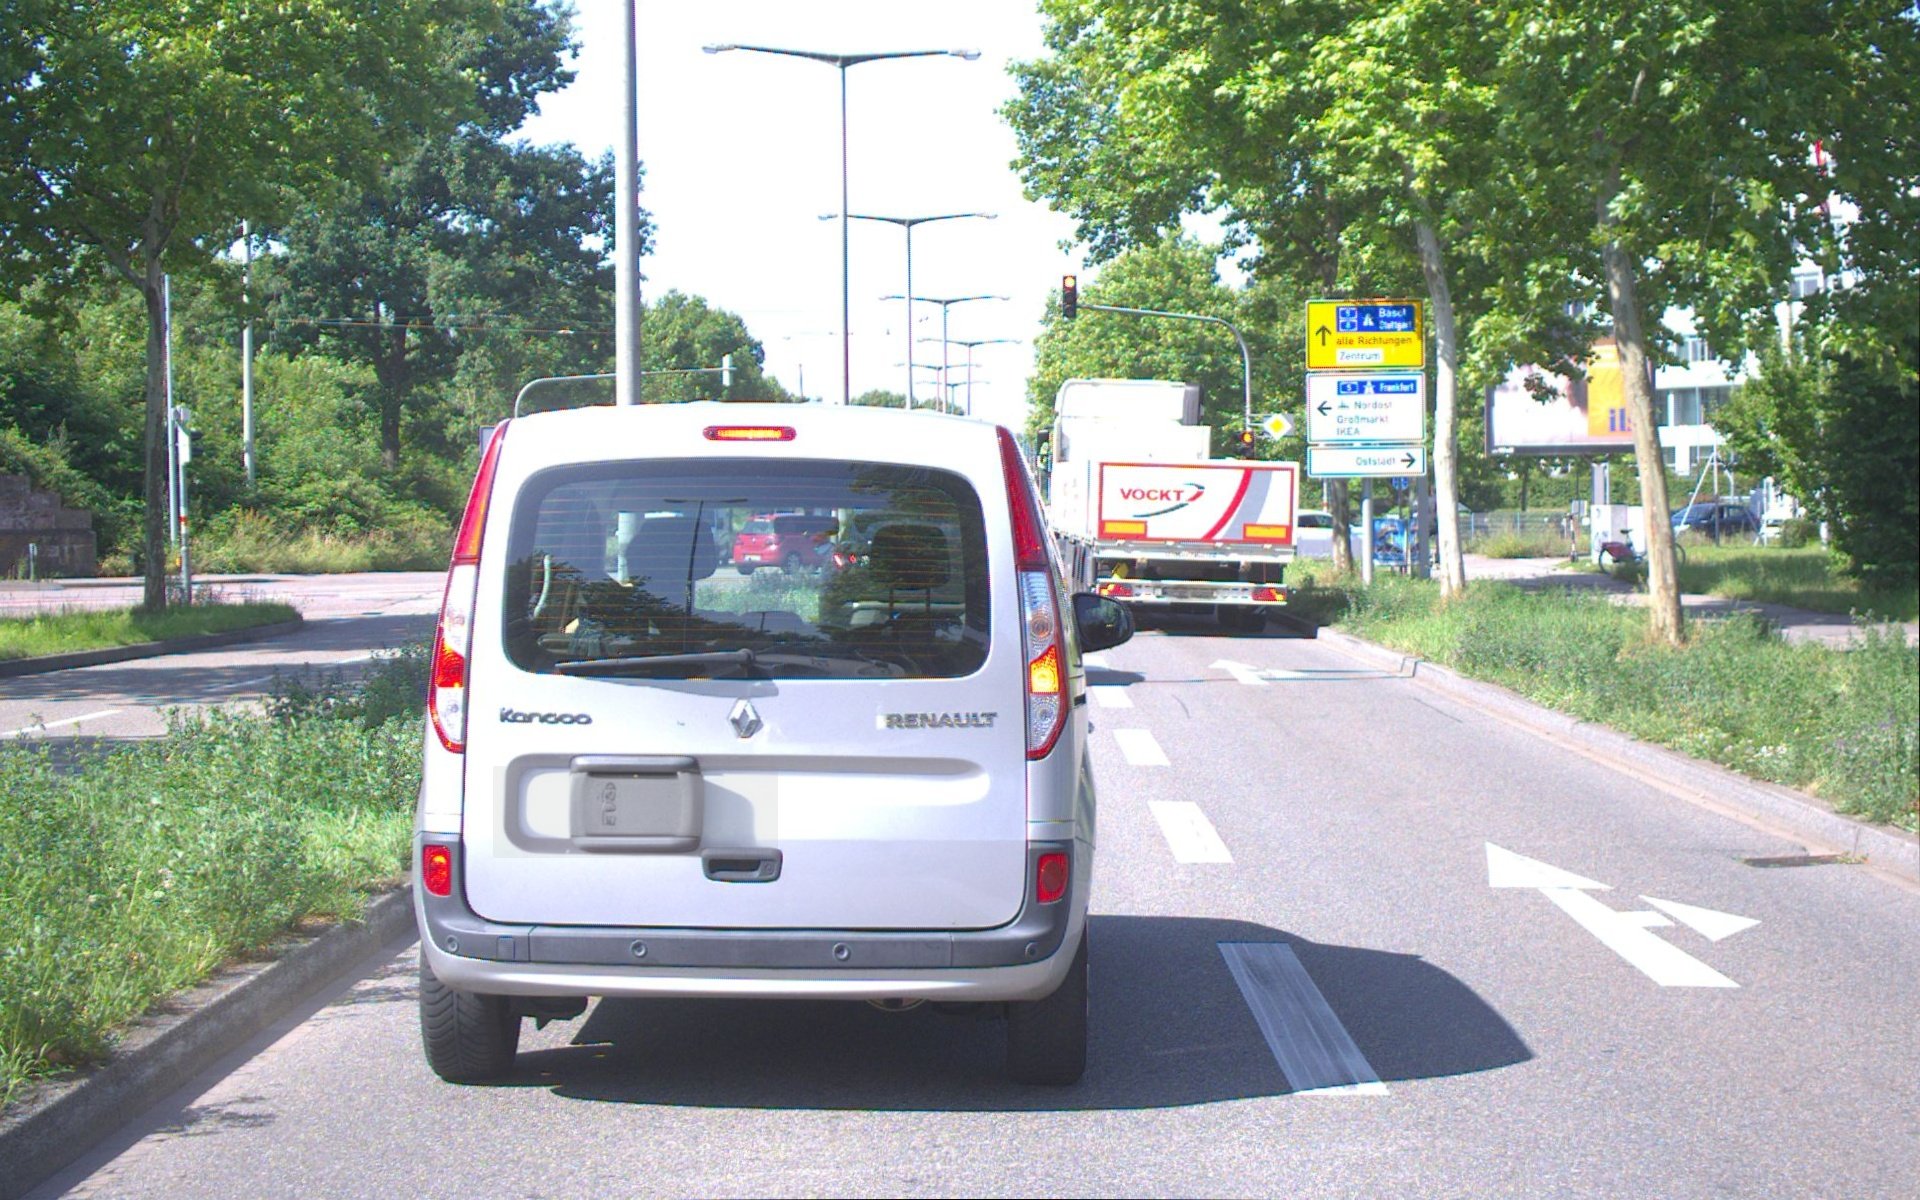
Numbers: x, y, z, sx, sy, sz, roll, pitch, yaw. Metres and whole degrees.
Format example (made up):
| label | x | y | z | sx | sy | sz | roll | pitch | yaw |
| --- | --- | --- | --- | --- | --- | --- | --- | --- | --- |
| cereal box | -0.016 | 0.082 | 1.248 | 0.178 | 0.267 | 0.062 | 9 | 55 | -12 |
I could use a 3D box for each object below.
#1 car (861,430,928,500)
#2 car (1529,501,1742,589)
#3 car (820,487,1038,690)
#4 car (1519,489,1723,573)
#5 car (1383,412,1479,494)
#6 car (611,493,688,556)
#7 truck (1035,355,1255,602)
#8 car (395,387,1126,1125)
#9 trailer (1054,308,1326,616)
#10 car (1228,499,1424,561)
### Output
| label | x | y | z | sx | sy | sz | roll | pitch | yaw |
| --- | --- | --- | --- | --- | --- | --- | --- | --- | --- |
| car | -1.997 | -4.054 | 103.658 | 1.713 | 2.007 | 4.001 | 1 | 1 | -5 |
| car | 13.405 | -1.107 | 68.402 | 3.988 | 1.656 | 1.723 | 1 | 1 | 6 |
| car | -0.332 | -0.142 | 30.979 | 1.809 | 1.678 | 4.001 | 1 | 1 | -2 |
| car | 13.740 | -1.438 | 71.614 | 3.988 | 1.656 | 1.723 | 1 | 1 | 6 |
| car | 10.877 | -3.386 | 79.575 | 1.816 | 1.788 | 3.443 | 1 | 1 | 2 |
| car | -9.760 | -2.374 | 108.386 | 1.993 | 1.884 | 4.988 | -2 | 1 | -1 |
| truck | 2.920 | -1.946 | 56.511 | 3.071 | 3.745 | 7.477 | 1 | 1 | -1 |
| car | -0.495 | 0.339 | 10.332 | 1.749 | 1.766 | 3.949 | 1 | 1 | 0 |
| trailer | 2.983 | -1.819 | 48.229 | 3.016 | 3.728 | 12.240 | 1 | 1 | 0 |
| car | 8.841 | -1.691 | 83.085 | 4.439 | 1.422 | 1.731 | 0 | 1 | -26 |
